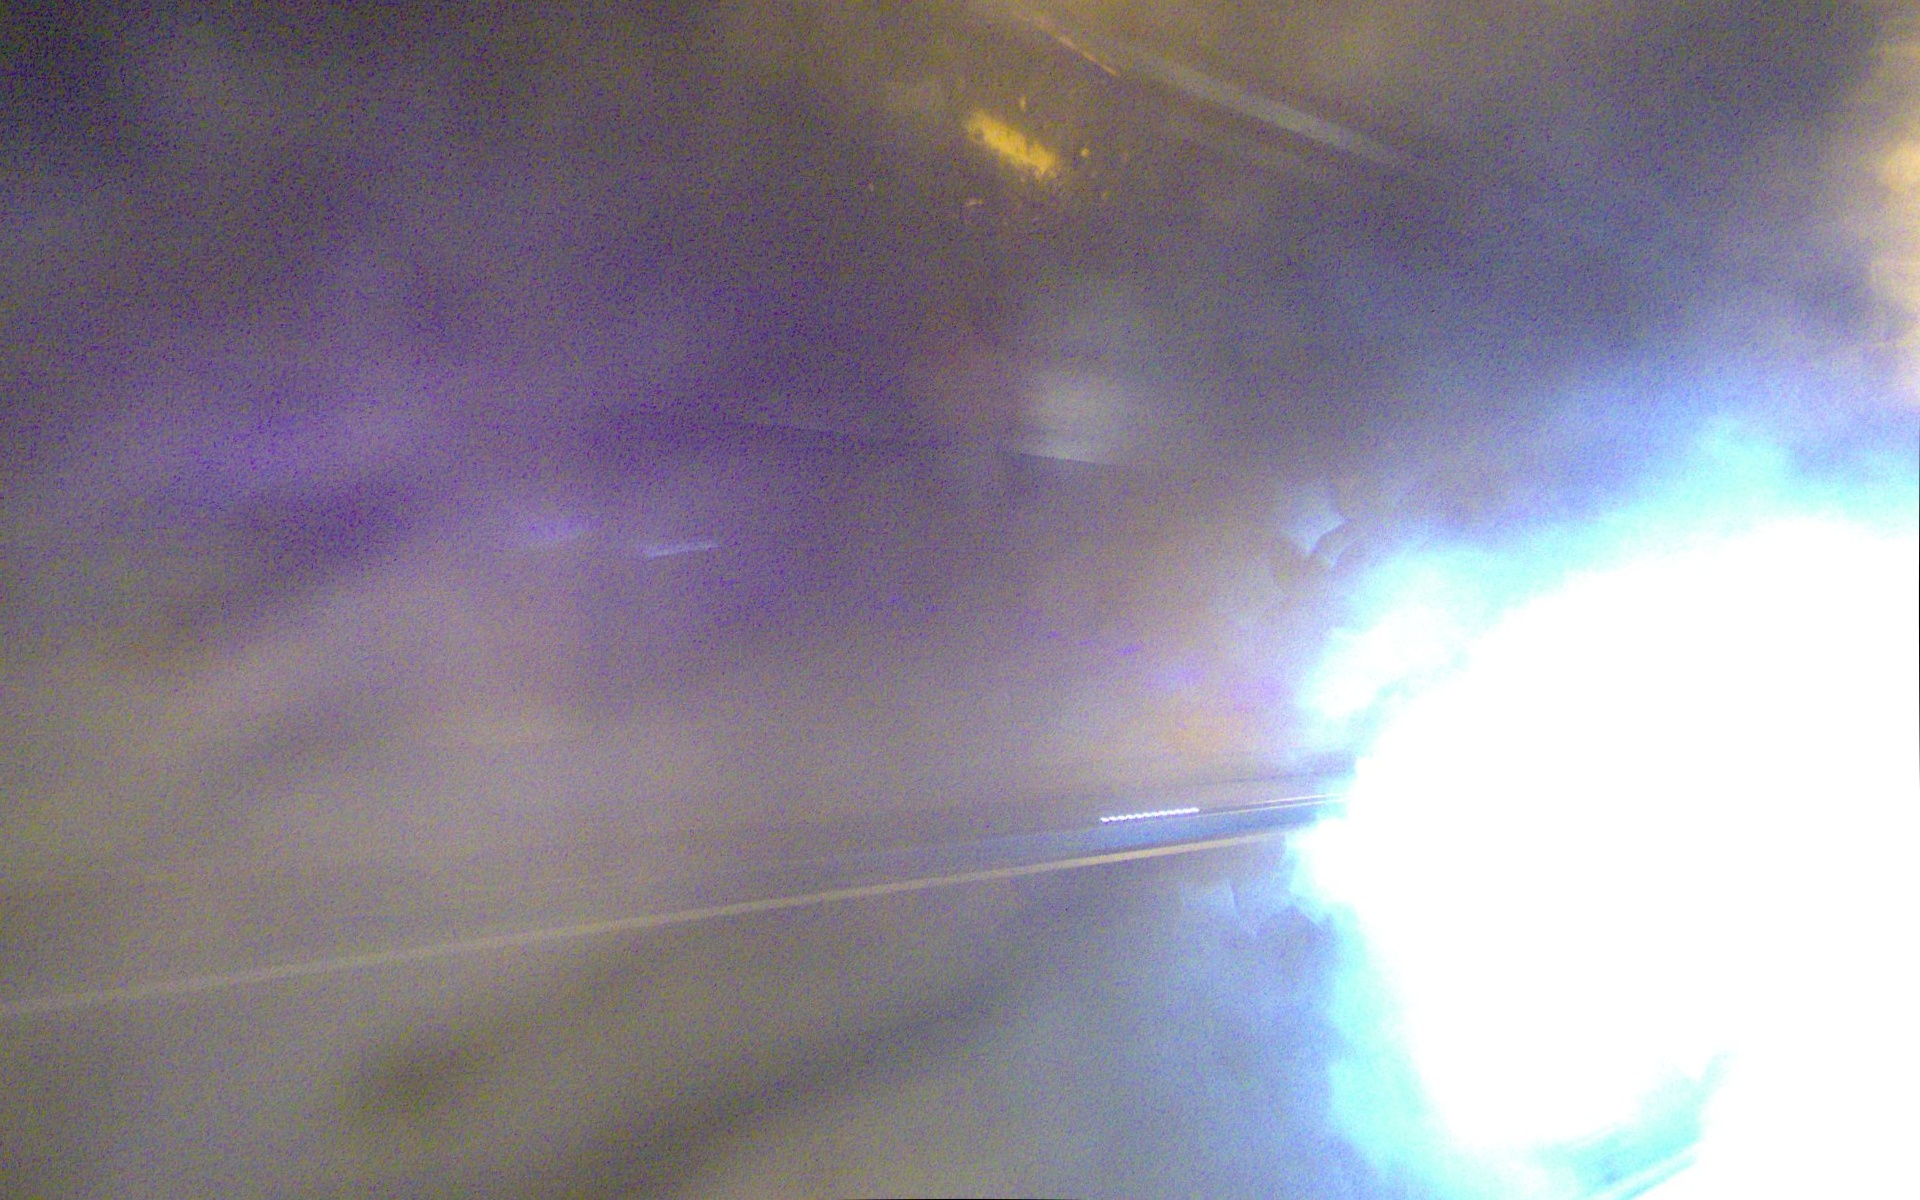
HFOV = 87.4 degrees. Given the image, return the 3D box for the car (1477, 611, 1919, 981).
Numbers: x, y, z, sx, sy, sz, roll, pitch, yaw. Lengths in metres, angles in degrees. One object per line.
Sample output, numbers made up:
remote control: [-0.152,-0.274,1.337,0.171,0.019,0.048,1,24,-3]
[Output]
car: [5.025,0.853,5.925,3.825,1.502,1.785,1,0,-31]
